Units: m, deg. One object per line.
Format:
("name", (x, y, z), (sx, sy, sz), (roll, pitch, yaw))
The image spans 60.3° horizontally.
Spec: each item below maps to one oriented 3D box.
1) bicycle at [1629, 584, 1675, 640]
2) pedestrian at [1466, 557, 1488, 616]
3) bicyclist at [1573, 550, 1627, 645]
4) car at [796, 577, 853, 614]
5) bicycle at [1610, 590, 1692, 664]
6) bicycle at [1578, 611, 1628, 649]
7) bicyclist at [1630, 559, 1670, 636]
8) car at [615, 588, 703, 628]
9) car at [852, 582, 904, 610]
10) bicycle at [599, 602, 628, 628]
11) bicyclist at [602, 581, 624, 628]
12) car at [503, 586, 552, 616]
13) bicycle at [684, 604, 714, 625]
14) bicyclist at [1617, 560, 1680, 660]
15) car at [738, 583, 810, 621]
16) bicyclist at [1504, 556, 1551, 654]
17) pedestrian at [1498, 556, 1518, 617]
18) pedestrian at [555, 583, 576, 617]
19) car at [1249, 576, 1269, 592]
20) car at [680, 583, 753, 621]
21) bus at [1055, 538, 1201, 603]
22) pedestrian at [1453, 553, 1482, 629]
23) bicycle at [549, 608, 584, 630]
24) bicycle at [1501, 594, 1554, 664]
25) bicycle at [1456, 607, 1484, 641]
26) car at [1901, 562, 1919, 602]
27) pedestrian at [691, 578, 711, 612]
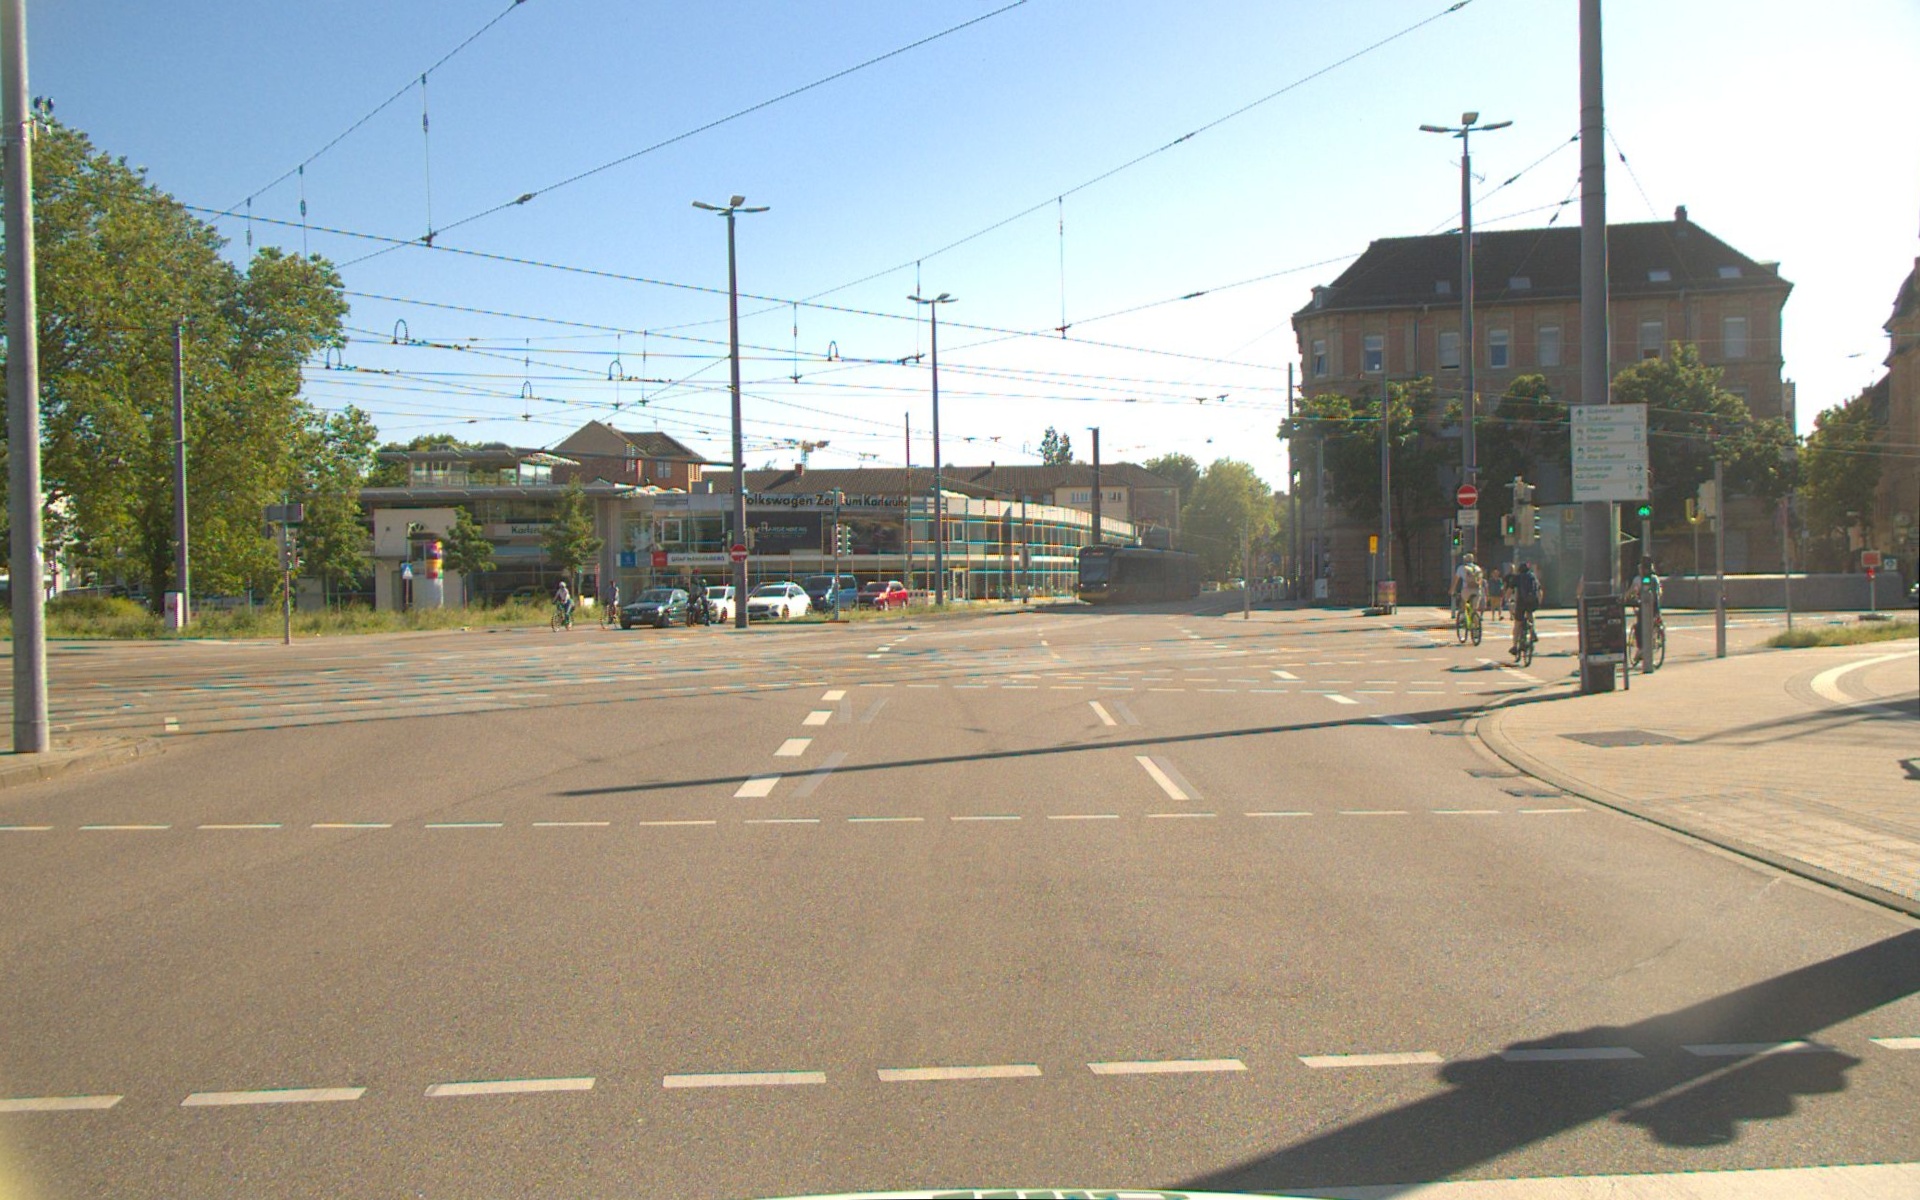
("bicycle", (14.774, 0.236, 35.339), (0.559, 1.145, 1.742), (-2, 0, 12))
("pedestrian", (17.970, -0.478, 57.505), (0.564, 2.049, 0.449), (-1, 1, -19))
("bicyclist", (12.453, -0.055, 32.209), (0.731, 1.809, 0.925), (-2, 0, 6))
("car", (-6.425, -0.241, 78.857), (1.591, 1.722, 3.689), (-1, 1, 14))
("bicycle", (11.489, 0.430, 27.548), (0.671, 1.184, 1.884), (-1, 0, 4))
("bicycle", (12.452, 0.579, 32.070), (0.525, 0.667, 1.469), (-2, 1, 6))
("bicyclist", (14.773, -0.058, 35.408), (0.559, 1.596, 0.947), (-2, 0, 12))
("car", (-11.012, 0.265, 60.698), (1.667, 1.378, 3.703), (-1, 1, 16))
("car", (-4.247, -0.205, 86.017), (1.591, 1.388, 3.688), (-1, 1, 16))
("bicycle", (-13.080, 0.564, 62.426), (0.458, 0.943, 1.476), (-1, 1, 13))
("bicyclist", (-13.089, 0.159, 62.323), (0.556, 1.743, 0.649), (-1, 0, 13))
("car", (-25.977, 0.040, 99.472), (1.926, 1.735, 4.083), (-1, 1, -1))
("bicycle", (-9.495, 0.532, 60.113), (0.413, 0.730, 1.636), (-1, 1, 16))
("bicyclist", (11.486, 0.157, 27.604), (0.671, 1.626, 0.978), (-1, 0, 4))
("car", (-7.237, 0.066, 64.828), (1.591, 1.406, 3.741), (-1, 1, 14))
("bicyclist", (9.852, 0.071, 28.741), (0.612, 1.666, 0.996), (1, 1, 11))
("pedestrian", (18.641, -0.472, 56.233), (0.453, 2.049, 0.449), (-1, 1, -18))
("pedestrian", (-14.382, -0.012, 60.291), (0.414, 1.225, 0.680), (-1, 0, 25))
("car", (29.010, -1.532, 160.388), (1.663, 1.529, 4.268), (-1, 1, 14))
("car", (-9.789, 0.058, 66.671), (1.591, 1.448, 3.689), (-1, 1, 14))
("bus", (11.392, -1.701, 107.529), (3.757, 3.670, 24.873), (1, 0, 19))
("pedestrian", (10.710, -0.193, 34.915), (0.537, 1.590, 0.858), (-1, 0, 19))
("bicycle", (-14.352, 0.687, 60.331), (0.414, 0.730, 1.474), (-1, 1, 25))
("bicycle", (9.850, 0.490, 28.774), (0.612, 1.133, 1.853), (1, 1, 11))
("bicycle", (10.757, 0.499, 34.859), (0.525, 0.667, 1.726), (-1, 1, 18))
("car", (40.266, -0.744, 66.877), (4.258, 1.590, 1.785), (-1, 1, -26))
("pedestrian", (-9.442, -0.182, 60.254), (0.413, 1.225, 0.750), (-1, 0, 16))
